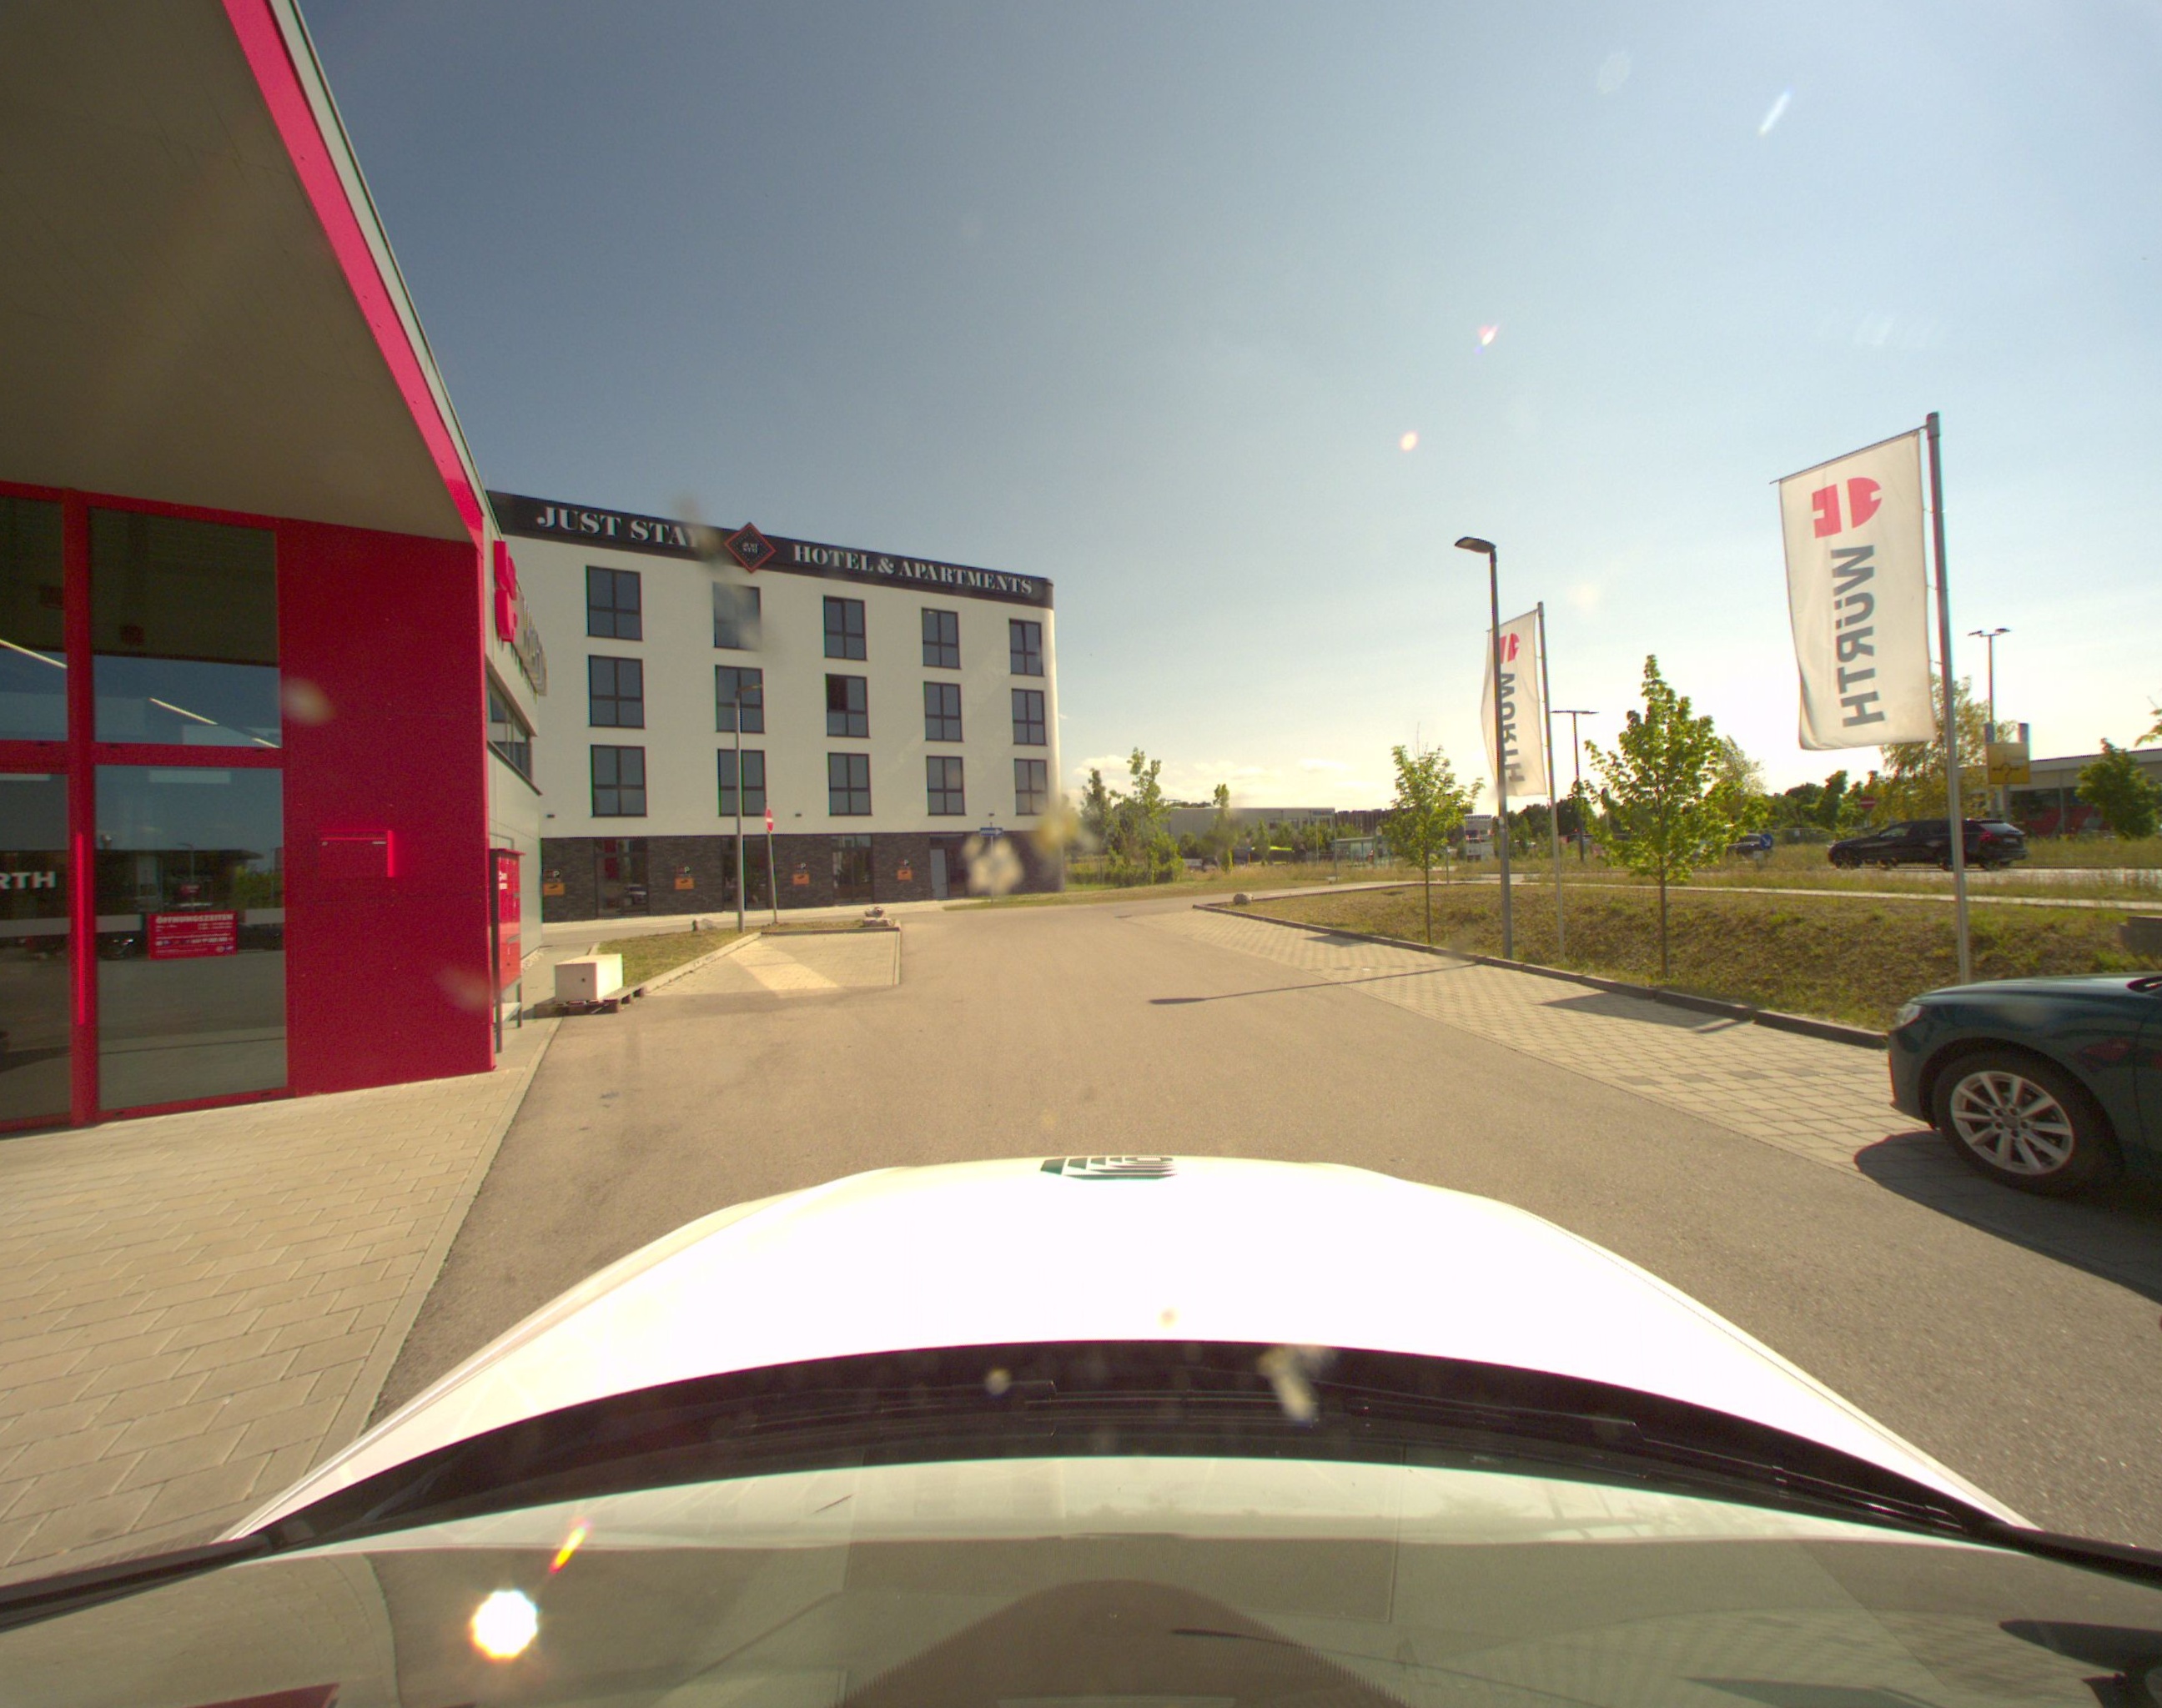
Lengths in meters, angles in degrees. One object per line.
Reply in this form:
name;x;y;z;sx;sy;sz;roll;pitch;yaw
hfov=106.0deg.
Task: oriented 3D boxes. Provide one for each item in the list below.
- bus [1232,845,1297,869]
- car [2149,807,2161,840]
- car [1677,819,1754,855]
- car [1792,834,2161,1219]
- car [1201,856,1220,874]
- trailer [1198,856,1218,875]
bus;24.009;0.279;105.790;2.548;2.735;11.639;-2;0;44
car;69.285;-1.998;50.378;6.702;1.977;2.213;-2;-1;-23
car;29.391;-0.786;37.685;4.219;1.517;1.976;-1;-1;-41
car;5.111;0.646;2.569;1.837;1.449;4.219;-2;0;-5
car;14.176;1.219;88.930;1.810;1.860;4.013;-2;0;12
trailer;13.305;1.213;85.068;1.810;1.860;4.013;-2;0;12
